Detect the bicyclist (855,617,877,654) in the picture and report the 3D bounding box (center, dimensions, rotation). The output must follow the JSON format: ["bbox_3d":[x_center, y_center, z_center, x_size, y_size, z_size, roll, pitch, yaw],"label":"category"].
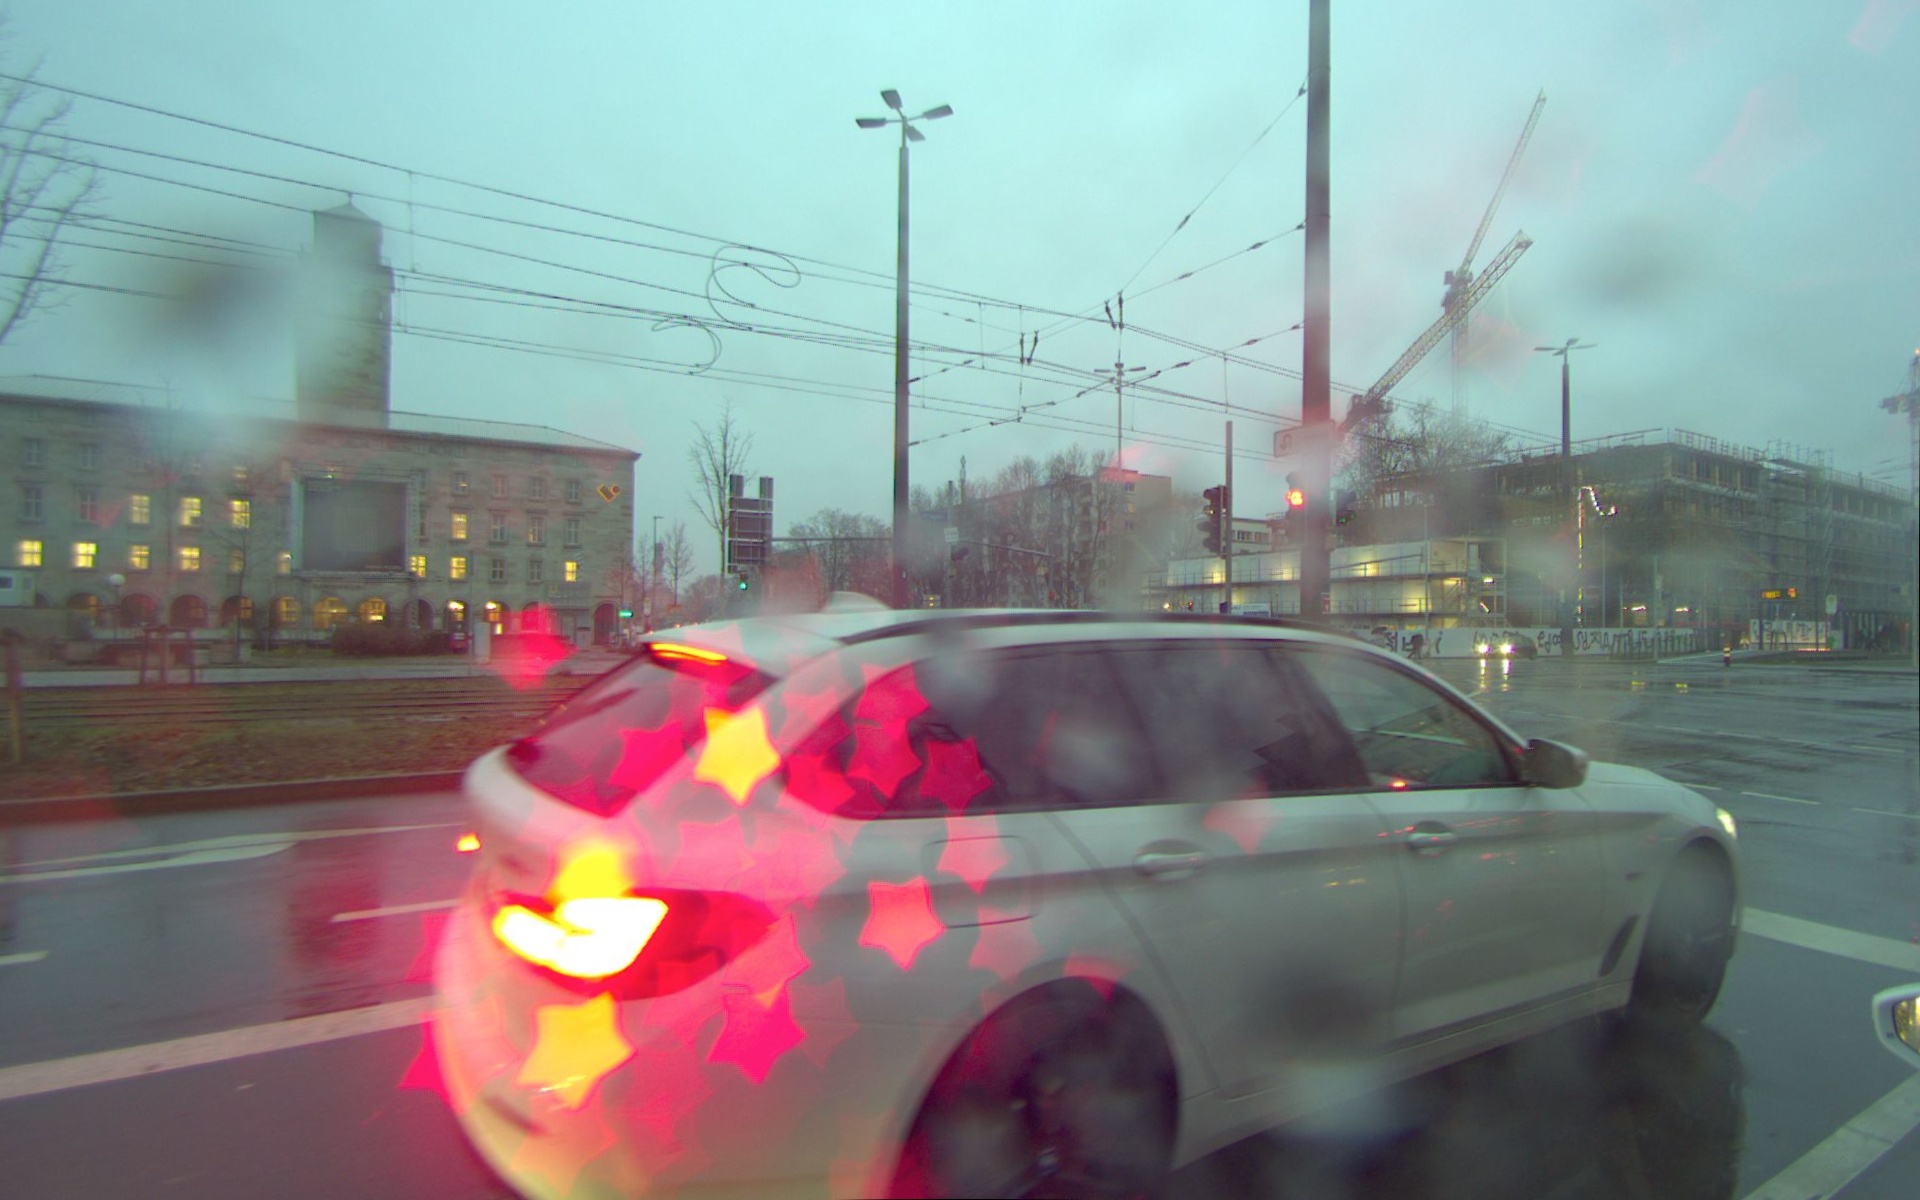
[{"bbox_3d":[-4.469,1.671,47.697,0.612,1.719,1.026,2,-2,-36],"label":"bicyclist"}]

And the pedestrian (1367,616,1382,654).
[{"bbox_3d":[22.498,1.918,54.523,0.635,2.039,0.503,5,-5,-40],"label":"pedestrian"}]

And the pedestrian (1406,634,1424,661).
[{"bbox_3d":[26.860,2.808,59.262,0.786,1.549,0.642,1,-2,-27],"label":"pedestrian"}]

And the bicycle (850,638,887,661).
[{"bbox_3d":[-4.351,2.334,47.499,0.612,1.046,2.356,2,-2,-36],"label":"bicycle"}]

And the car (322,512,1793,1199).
[{"bbox_3d":[0.711,0.726,3.482,4.868,1.540,1.900,2,-2,-32],"label":"car"}]

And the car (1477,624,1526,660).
[{"bbox_3d":[32.147,2.471,59.570,1.736,2.040,3.980,-1,-2,41],"label":"car"}]

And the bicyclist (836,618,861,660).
[{"bbox_3d":[-5.073,1.780,45.780,0.714,1.863,0.986,2,-3,-39],"label":"bicyclist"}]

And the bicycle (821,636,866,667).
[{"bbox_3d":[-5.370,2.343,46.146,0.714,1.380,2.809,2,-3,-38],"label":"bicycle"}]

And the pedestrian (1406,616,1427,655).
[{"bbox_3d":[24.484,1.916,53.894,0.742,2.040,0.785,4,-4,-40],"label":"pedestrian"}]

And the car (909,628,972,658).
[{"bbox_3d":[-1.191,2.534,59.816,1.978,1.706,3.965,1,-2,-32],"label":"car"}]
